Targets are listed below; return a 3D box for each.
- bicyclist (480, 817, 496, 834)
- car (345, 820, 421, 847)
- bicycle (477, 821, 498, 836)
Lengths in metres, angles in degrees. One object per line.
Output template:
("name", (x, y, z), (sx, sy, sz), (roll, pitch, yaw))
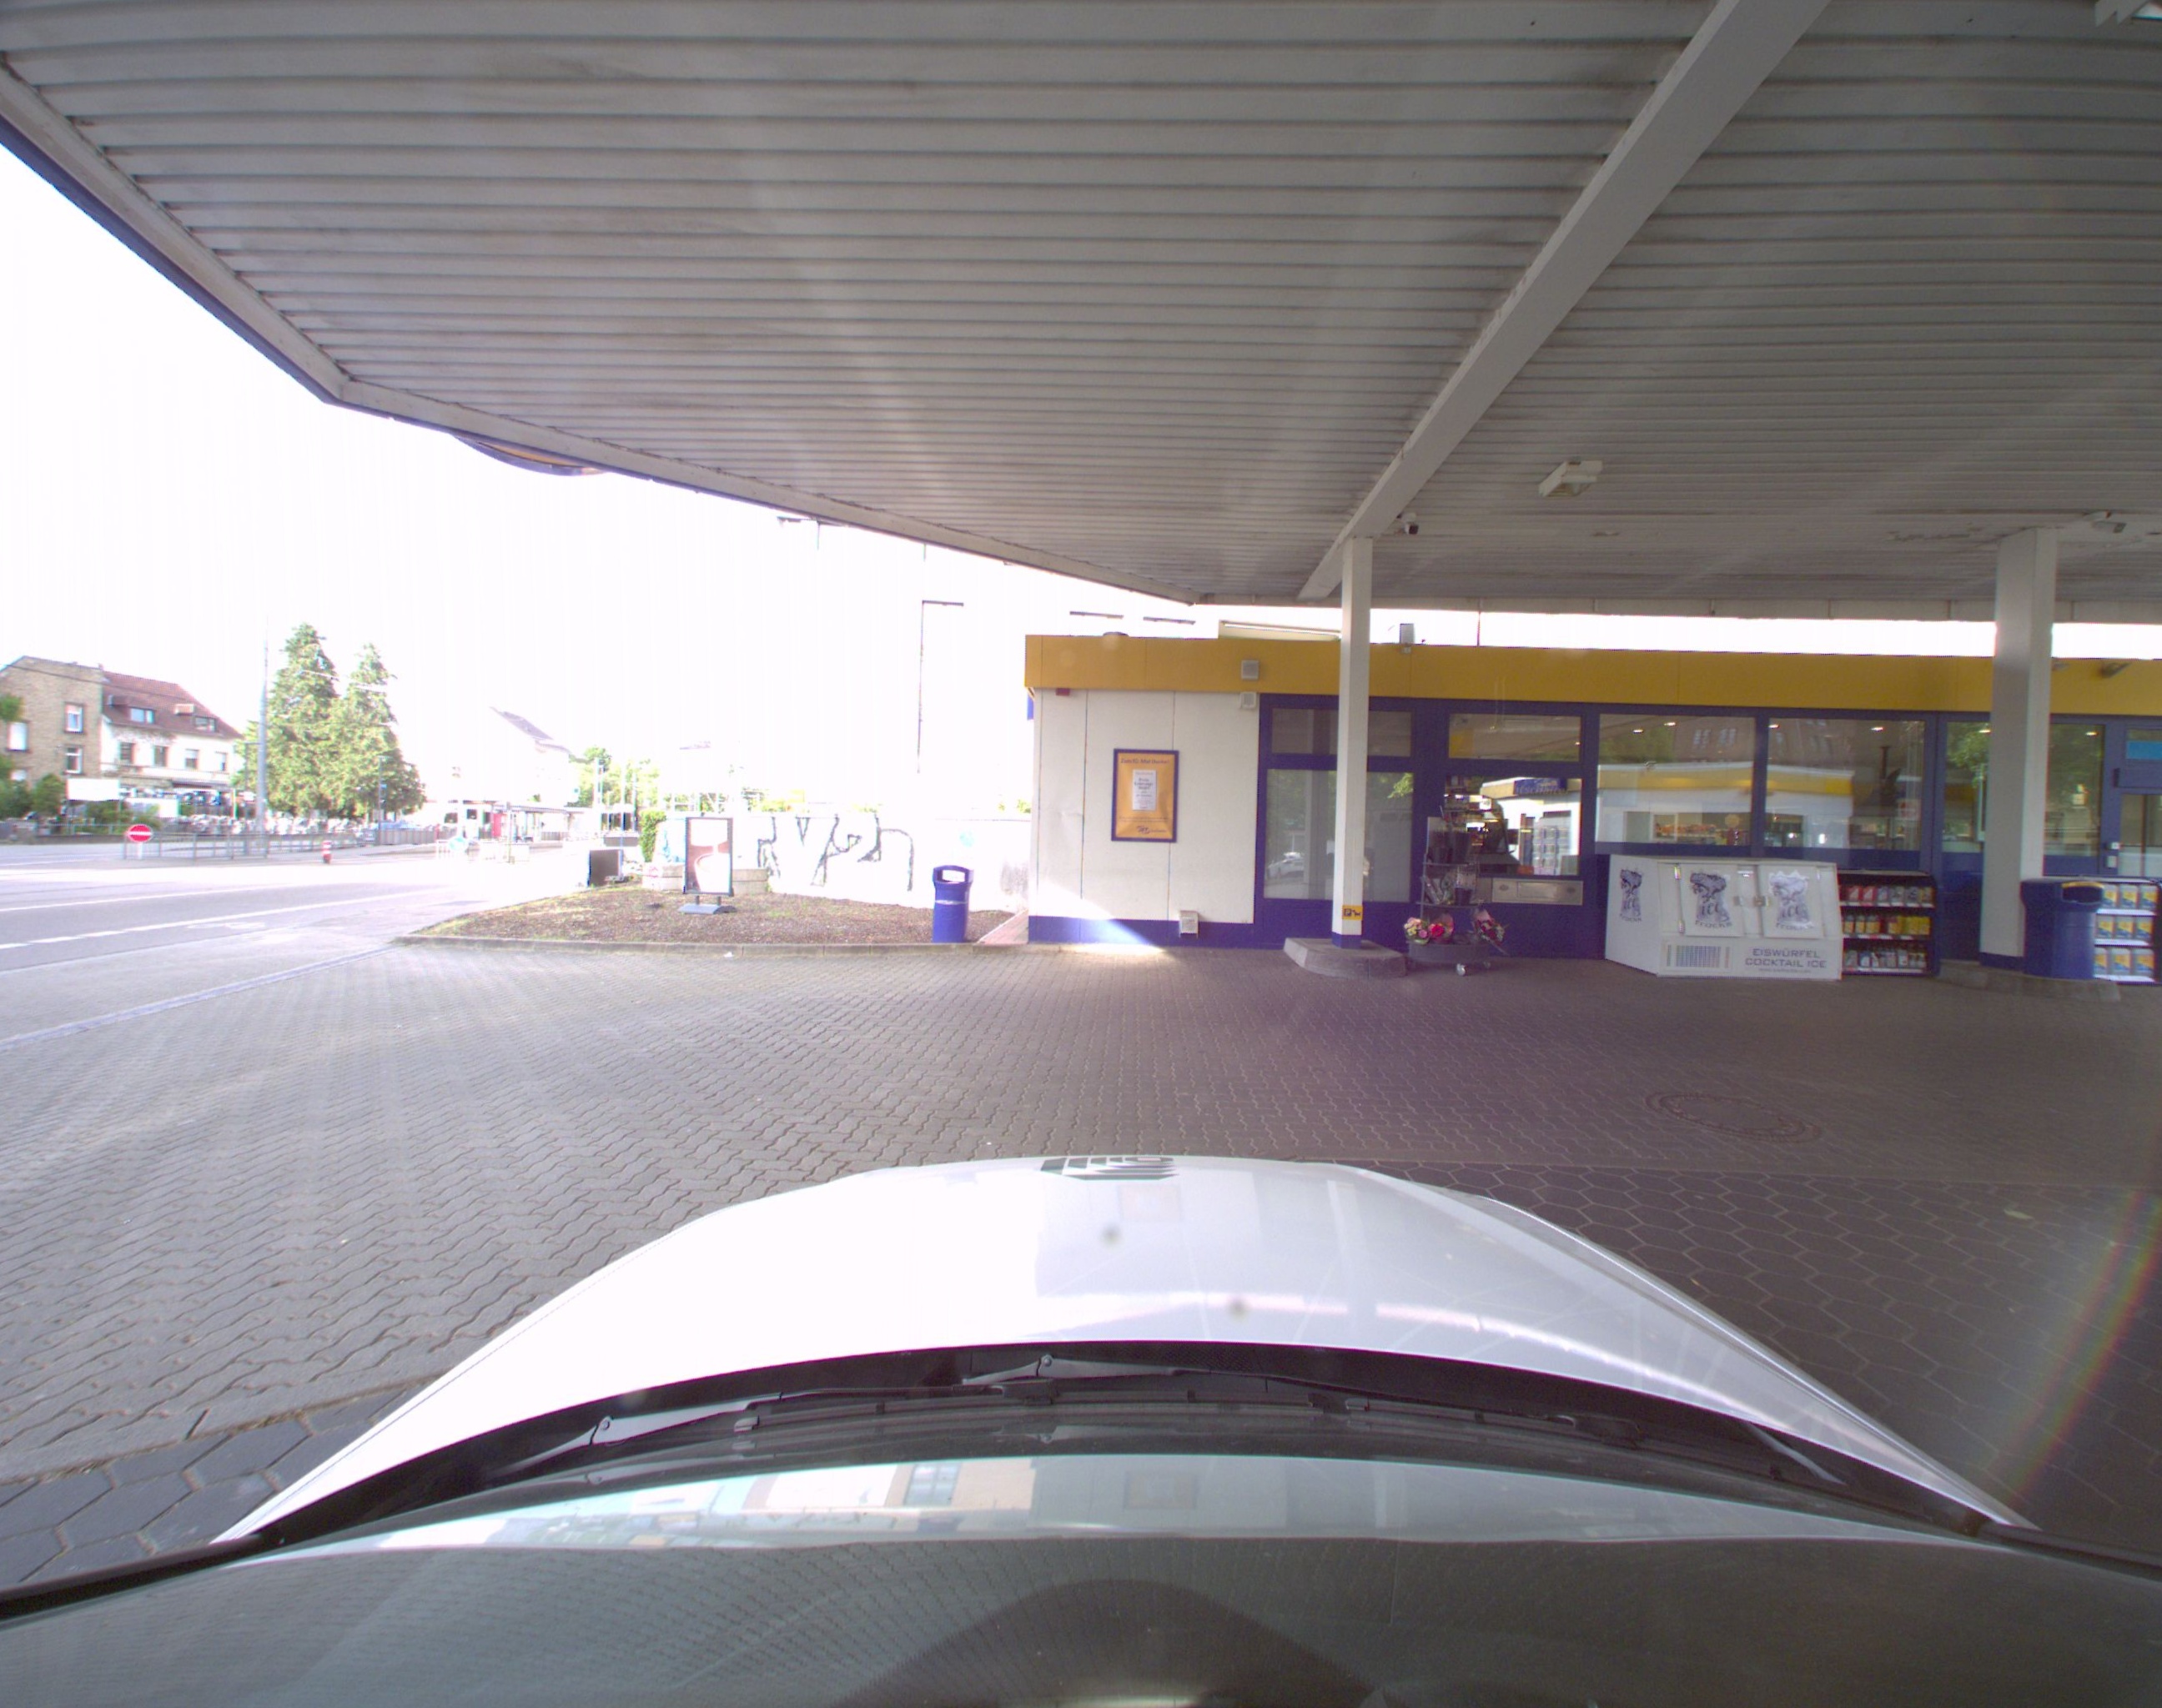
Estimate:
("bicyclist", (-50.859, -2.462, 69.802), (0.751, 1.409, 0.916), (5, 0, -17))
("car", (-40.830, -1.197, 47.752), (1.863, 1.469, 4.114), (1, 1, -18))
("bicycle", (-50.856, -2.212, 69.769), (0.751, 1.203, 1.812), (5, 0, -15))
